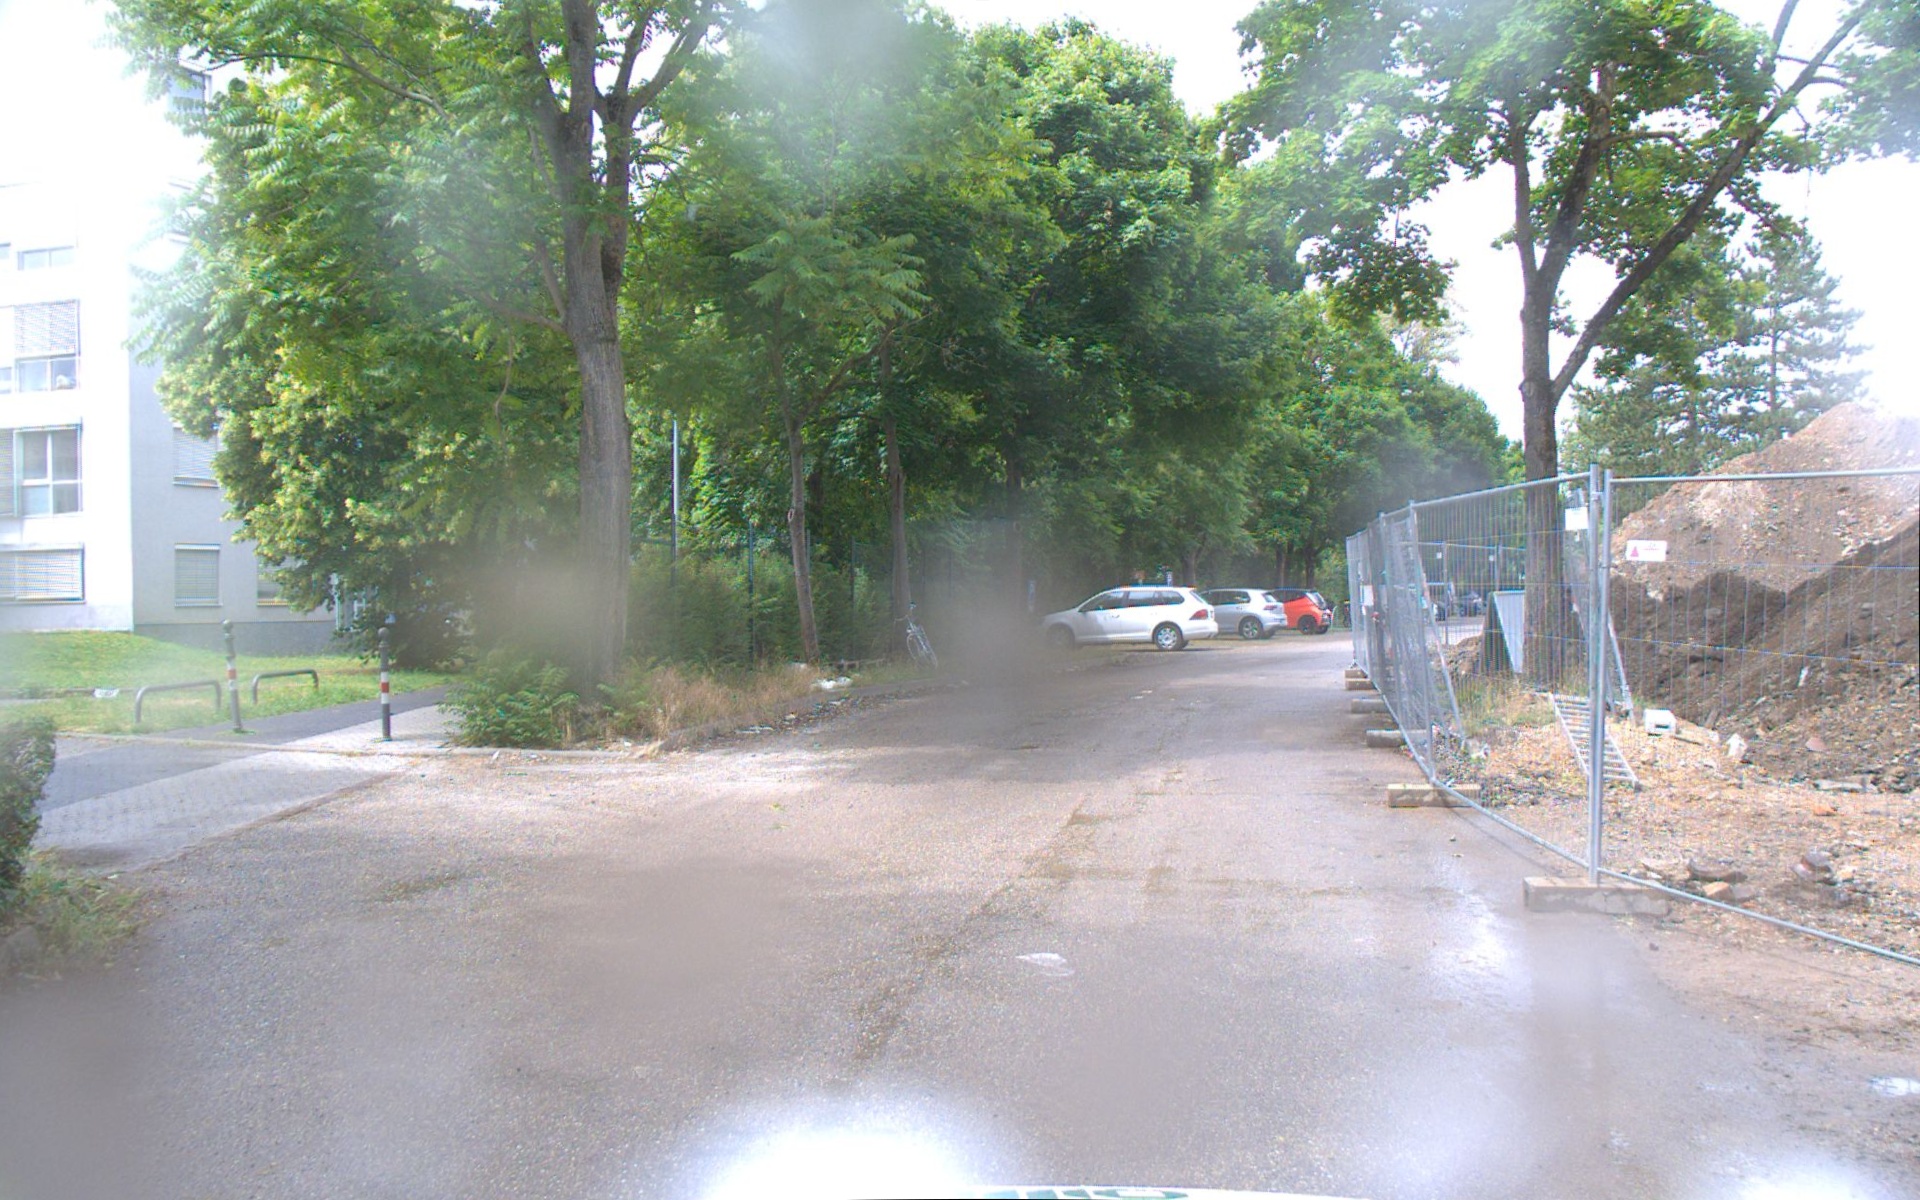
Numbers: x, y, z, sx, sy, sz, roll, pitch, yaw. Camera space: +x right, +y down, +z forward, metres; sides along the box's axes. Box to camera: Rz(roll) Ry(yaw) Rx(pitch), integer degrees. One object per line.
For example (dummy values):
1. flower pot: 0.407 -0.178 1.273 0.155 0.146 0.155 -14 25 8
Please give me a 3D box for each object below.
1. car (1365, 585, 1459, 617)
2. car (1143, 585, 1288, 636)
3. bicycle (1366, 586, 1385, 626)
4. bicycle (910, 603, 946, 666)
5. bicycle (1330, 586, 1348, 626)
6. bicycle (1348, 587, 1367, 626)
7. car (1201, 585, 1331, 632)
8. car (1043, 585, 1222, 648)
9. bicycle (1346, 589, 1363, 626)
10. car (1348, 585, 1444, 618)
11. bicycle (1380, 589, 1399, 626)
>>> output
1. car: 21.011 0.052 76.839 3.954 1.434 1.980 0 -1 25
2. car: 7.364 0.302 47.543 3.948 1.434 1.983 0 -1 15
3. bicycle: 14.172 0.222 56.429 0.583 1.331 2.671 0 -1 13
4. bicycle: -0.480 0.516 25.377 0.457 0.894 1.571 0 1 2
5. bicycle: 12.984 0.218 56.629 0.583 1.331 2.671 0 -1 13
6. bicycle: 13.579 0.235 56.537 0.583 1.289 2.671 0 -1 13
7. car: 9.792 0.279 52.844 3.948 1.434 1.983 0 -1 15
8. car: 4.106 0.386 39.040 3.948 1.434 1.983 0 -1 15
9. bicycle: 14.472 0.291 60.657 0.583 1.331 2.671 0 -1 13
10. car: 19.700 0.073 74.717 3.954 1.434 1.980 0 -1 25
11. bicycle: 15.670 0.293 60.352 0.583 1.331 2.671 0 -1 13
